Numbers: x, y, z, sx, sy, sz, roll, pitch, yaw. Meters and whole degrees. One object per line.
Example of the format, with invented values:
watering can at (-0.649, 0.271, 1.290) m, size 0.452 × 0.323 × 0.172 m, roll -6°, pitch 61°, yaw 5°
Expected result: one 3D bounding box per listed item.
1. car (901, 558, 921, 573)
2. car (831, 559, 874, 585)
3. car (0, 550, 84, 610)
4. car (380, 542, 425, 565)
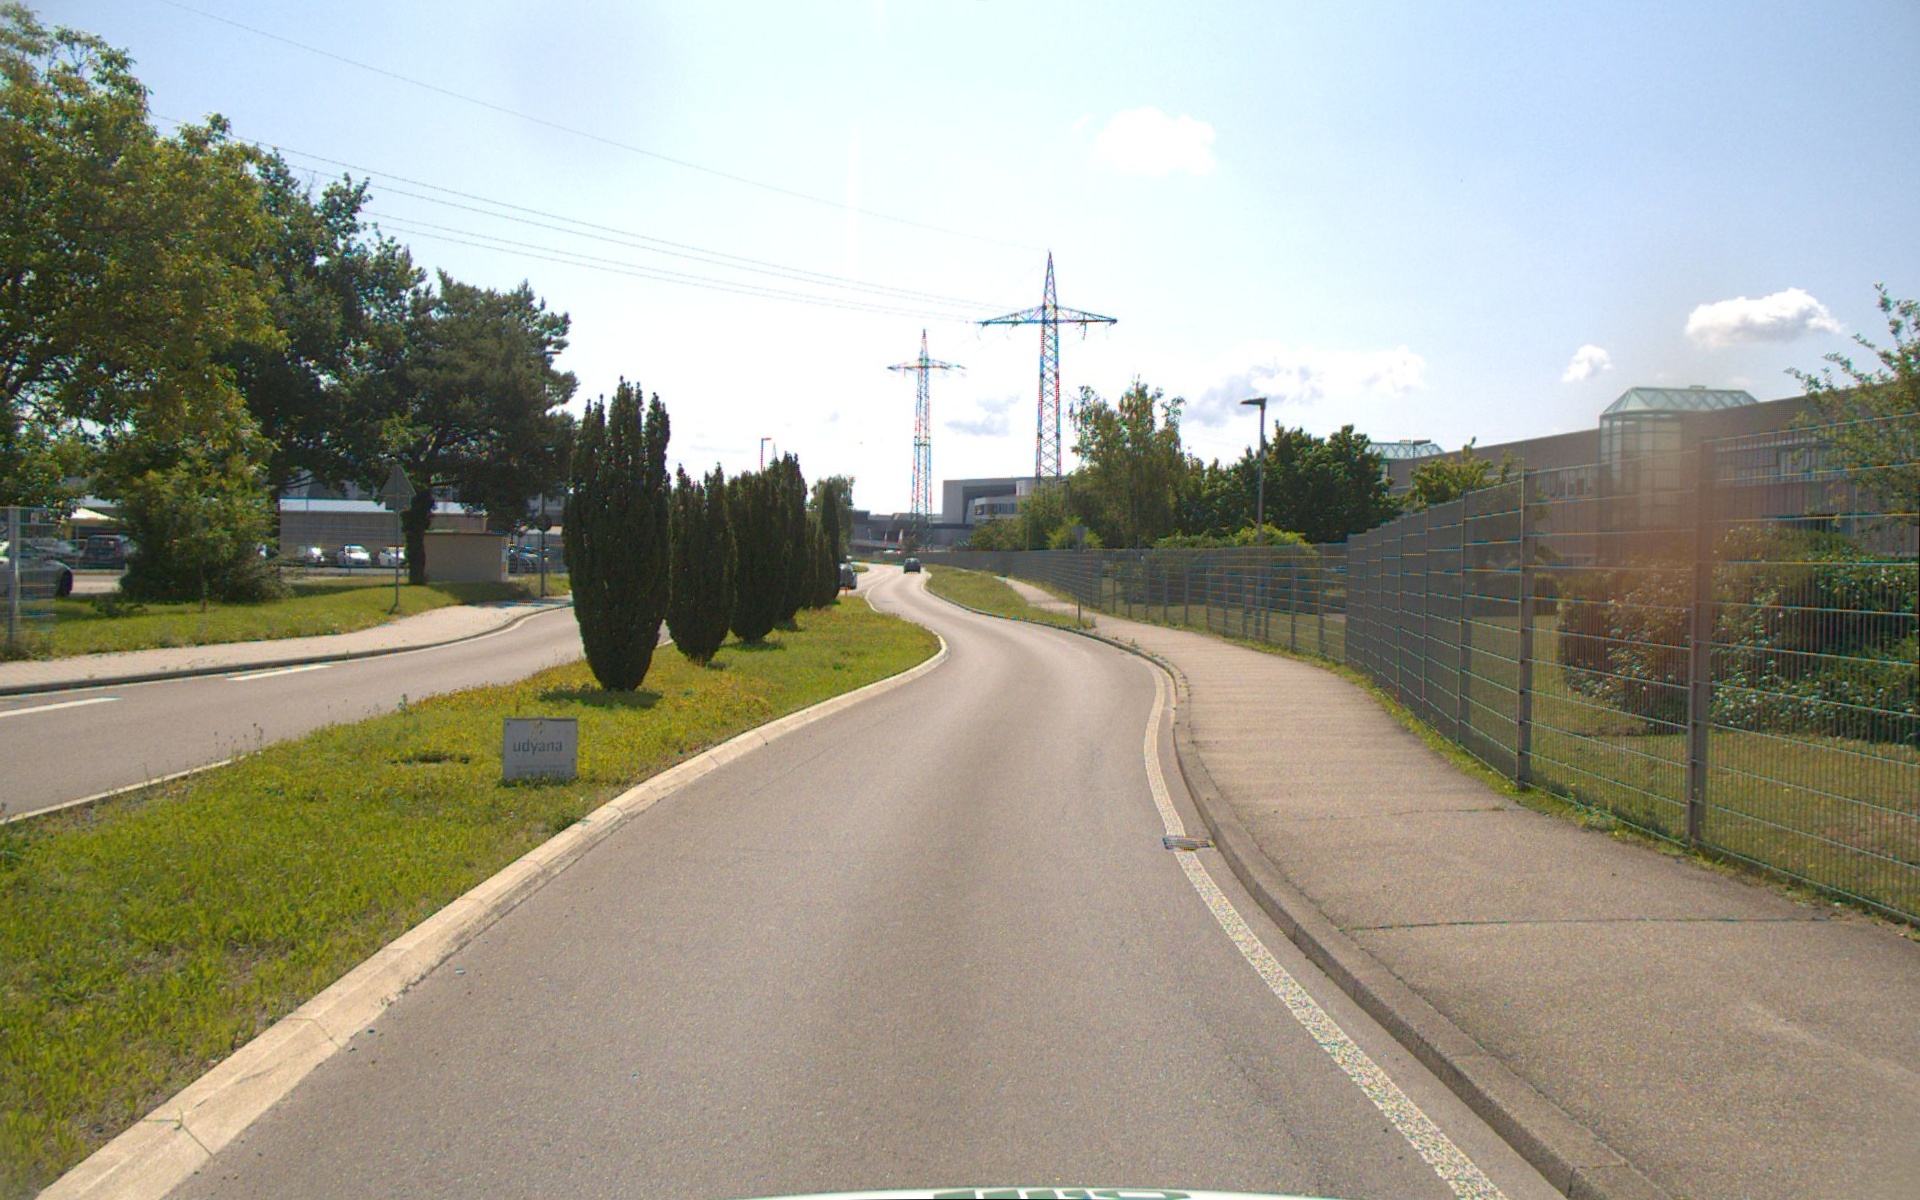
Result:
car at (-5.120, -3.570, 172.748) m, size 1.972 × 1.534 × 3.997 m, roll 1°, pitch 1°, yaw -4°
car at (-6.108, -1.613, 94.493) m, size 1.859 × 1.418 × 4.868 m, roll 1°, pitch 1°, yaw 3°
car at (-23.898, -0.505, 41.215) m, size 1.954 × 1.433 × 4.513 m, roll 1°, pitch 1°, yaw -4°
car at (-38.439, -3.196, 113.953) m, size 1.975 × 1.512 × 4.201 m, roll 0°, pitch 2°, yaw -32°
